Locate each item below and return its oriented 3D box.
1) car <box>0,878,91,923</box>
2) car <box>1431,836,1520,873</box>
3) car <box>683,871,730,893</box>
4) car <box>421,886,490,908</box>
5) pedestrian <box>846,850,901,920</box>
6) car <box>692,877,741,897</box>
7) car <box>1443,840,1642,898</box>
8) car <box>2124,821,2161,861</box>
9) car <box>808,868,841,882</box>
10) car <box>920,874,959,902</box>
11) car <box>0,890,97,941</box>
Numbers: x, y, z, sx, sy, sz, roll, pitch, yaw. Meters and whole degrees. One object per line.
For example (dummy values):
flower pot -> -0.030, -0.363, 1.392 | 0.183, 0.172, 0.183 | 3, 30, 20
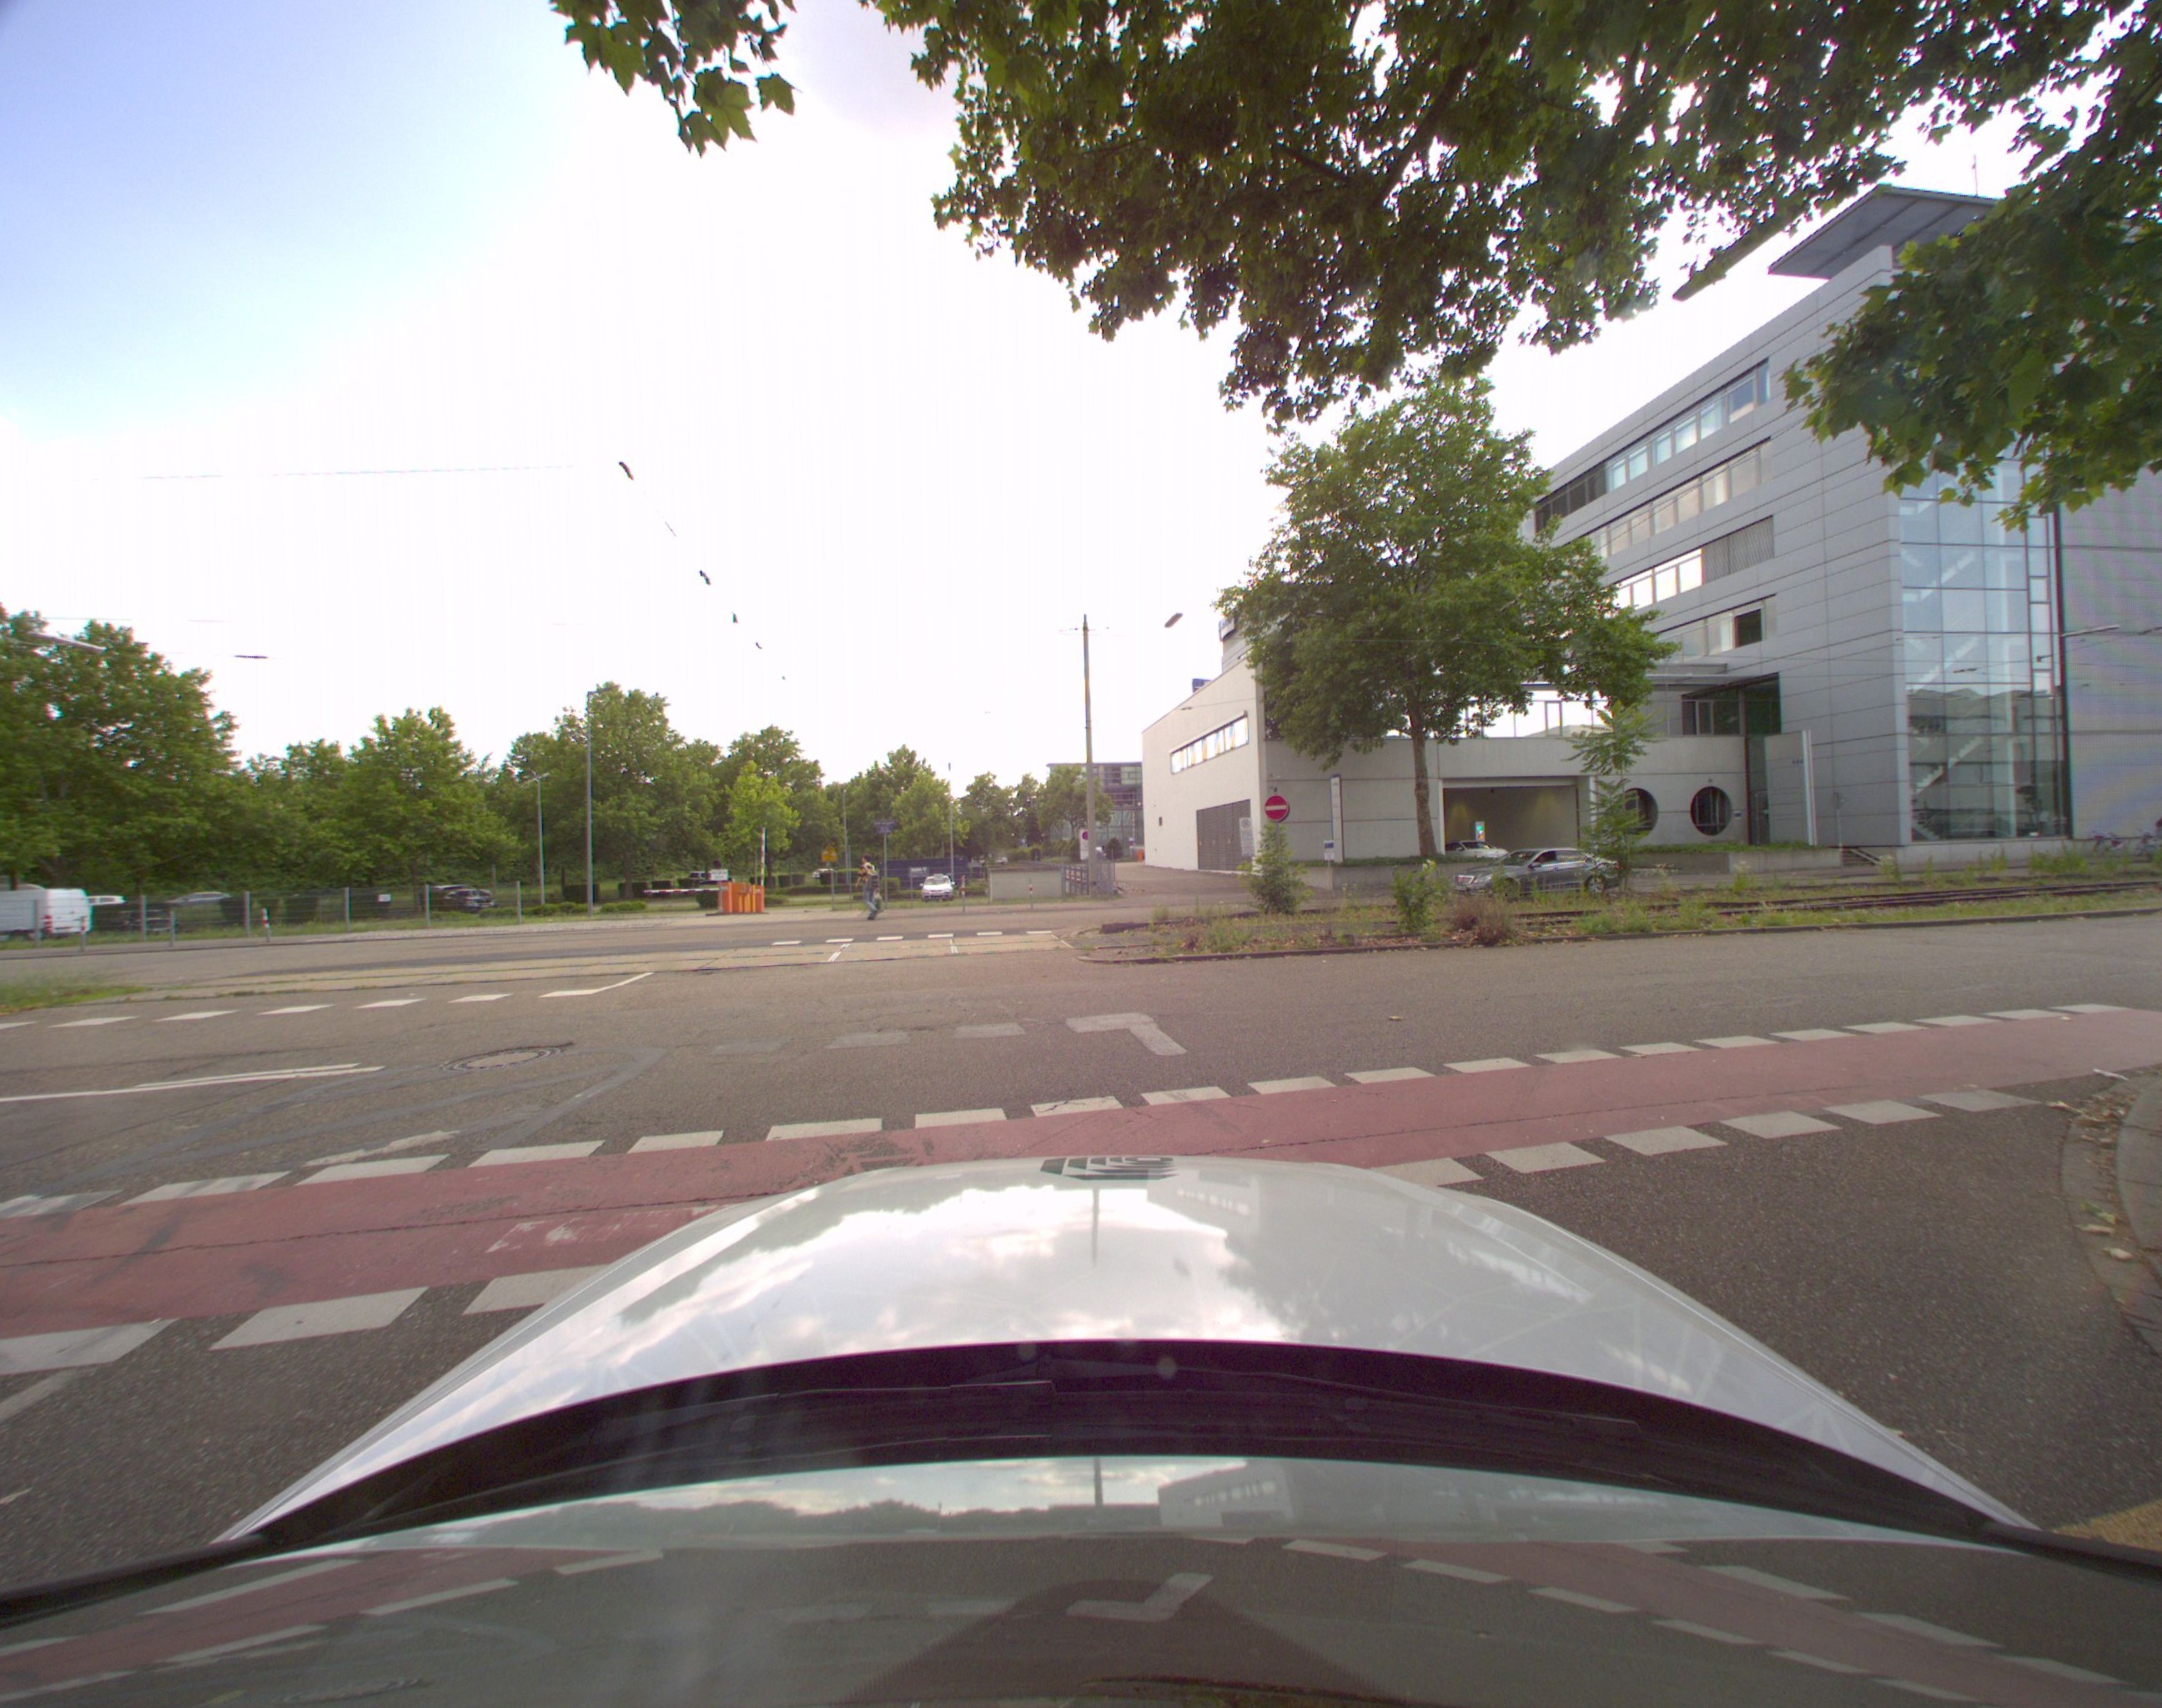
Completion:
car -> -63.184, 2.783, 47.896 | 2.184, 2.442, 5.944 | -2, 0, 25
car -> 18.540, 0.034, 38.499 | 1.826, 1.578, 4.037 | -2, 0, -7
car -> -41.548, 3.091, 90.370 | 1.838, 2.135, 4.595 | -2, 0, 23
car -> -54.232, 3.706, 70.731 | 1.976, 1.684, 4.286 | -2, 0, 23
pedestrian -> -5.739, 0.847, 22.518 | 1.009, 1.849, 1.215 | -1, -1, -39
car -> -33.711, 3.026, 75.276 | 3.951, 1.701, 1.920 | -2, 0, 23
car -> 13.274, 0.417, 23.541 | 4.951, 1.431, 1.768 | -2, -1, -8
car -> 42.231, -0.554, 30.616 | 4.057, 1.452, 1.939 | -2, -1, -8
car -> -34.880, 2.897, 110.847 | 1.896, 1.721, 4.325 | -2, 0, 25
car -> -8.140, 1.943, 47.182 | 1.929, 1.403, 4.070 | -2, 0, -7
car -> -49.983, 2.915, 37.920 | 5.290, 2.211, 1.790 | -2, -1, -12
